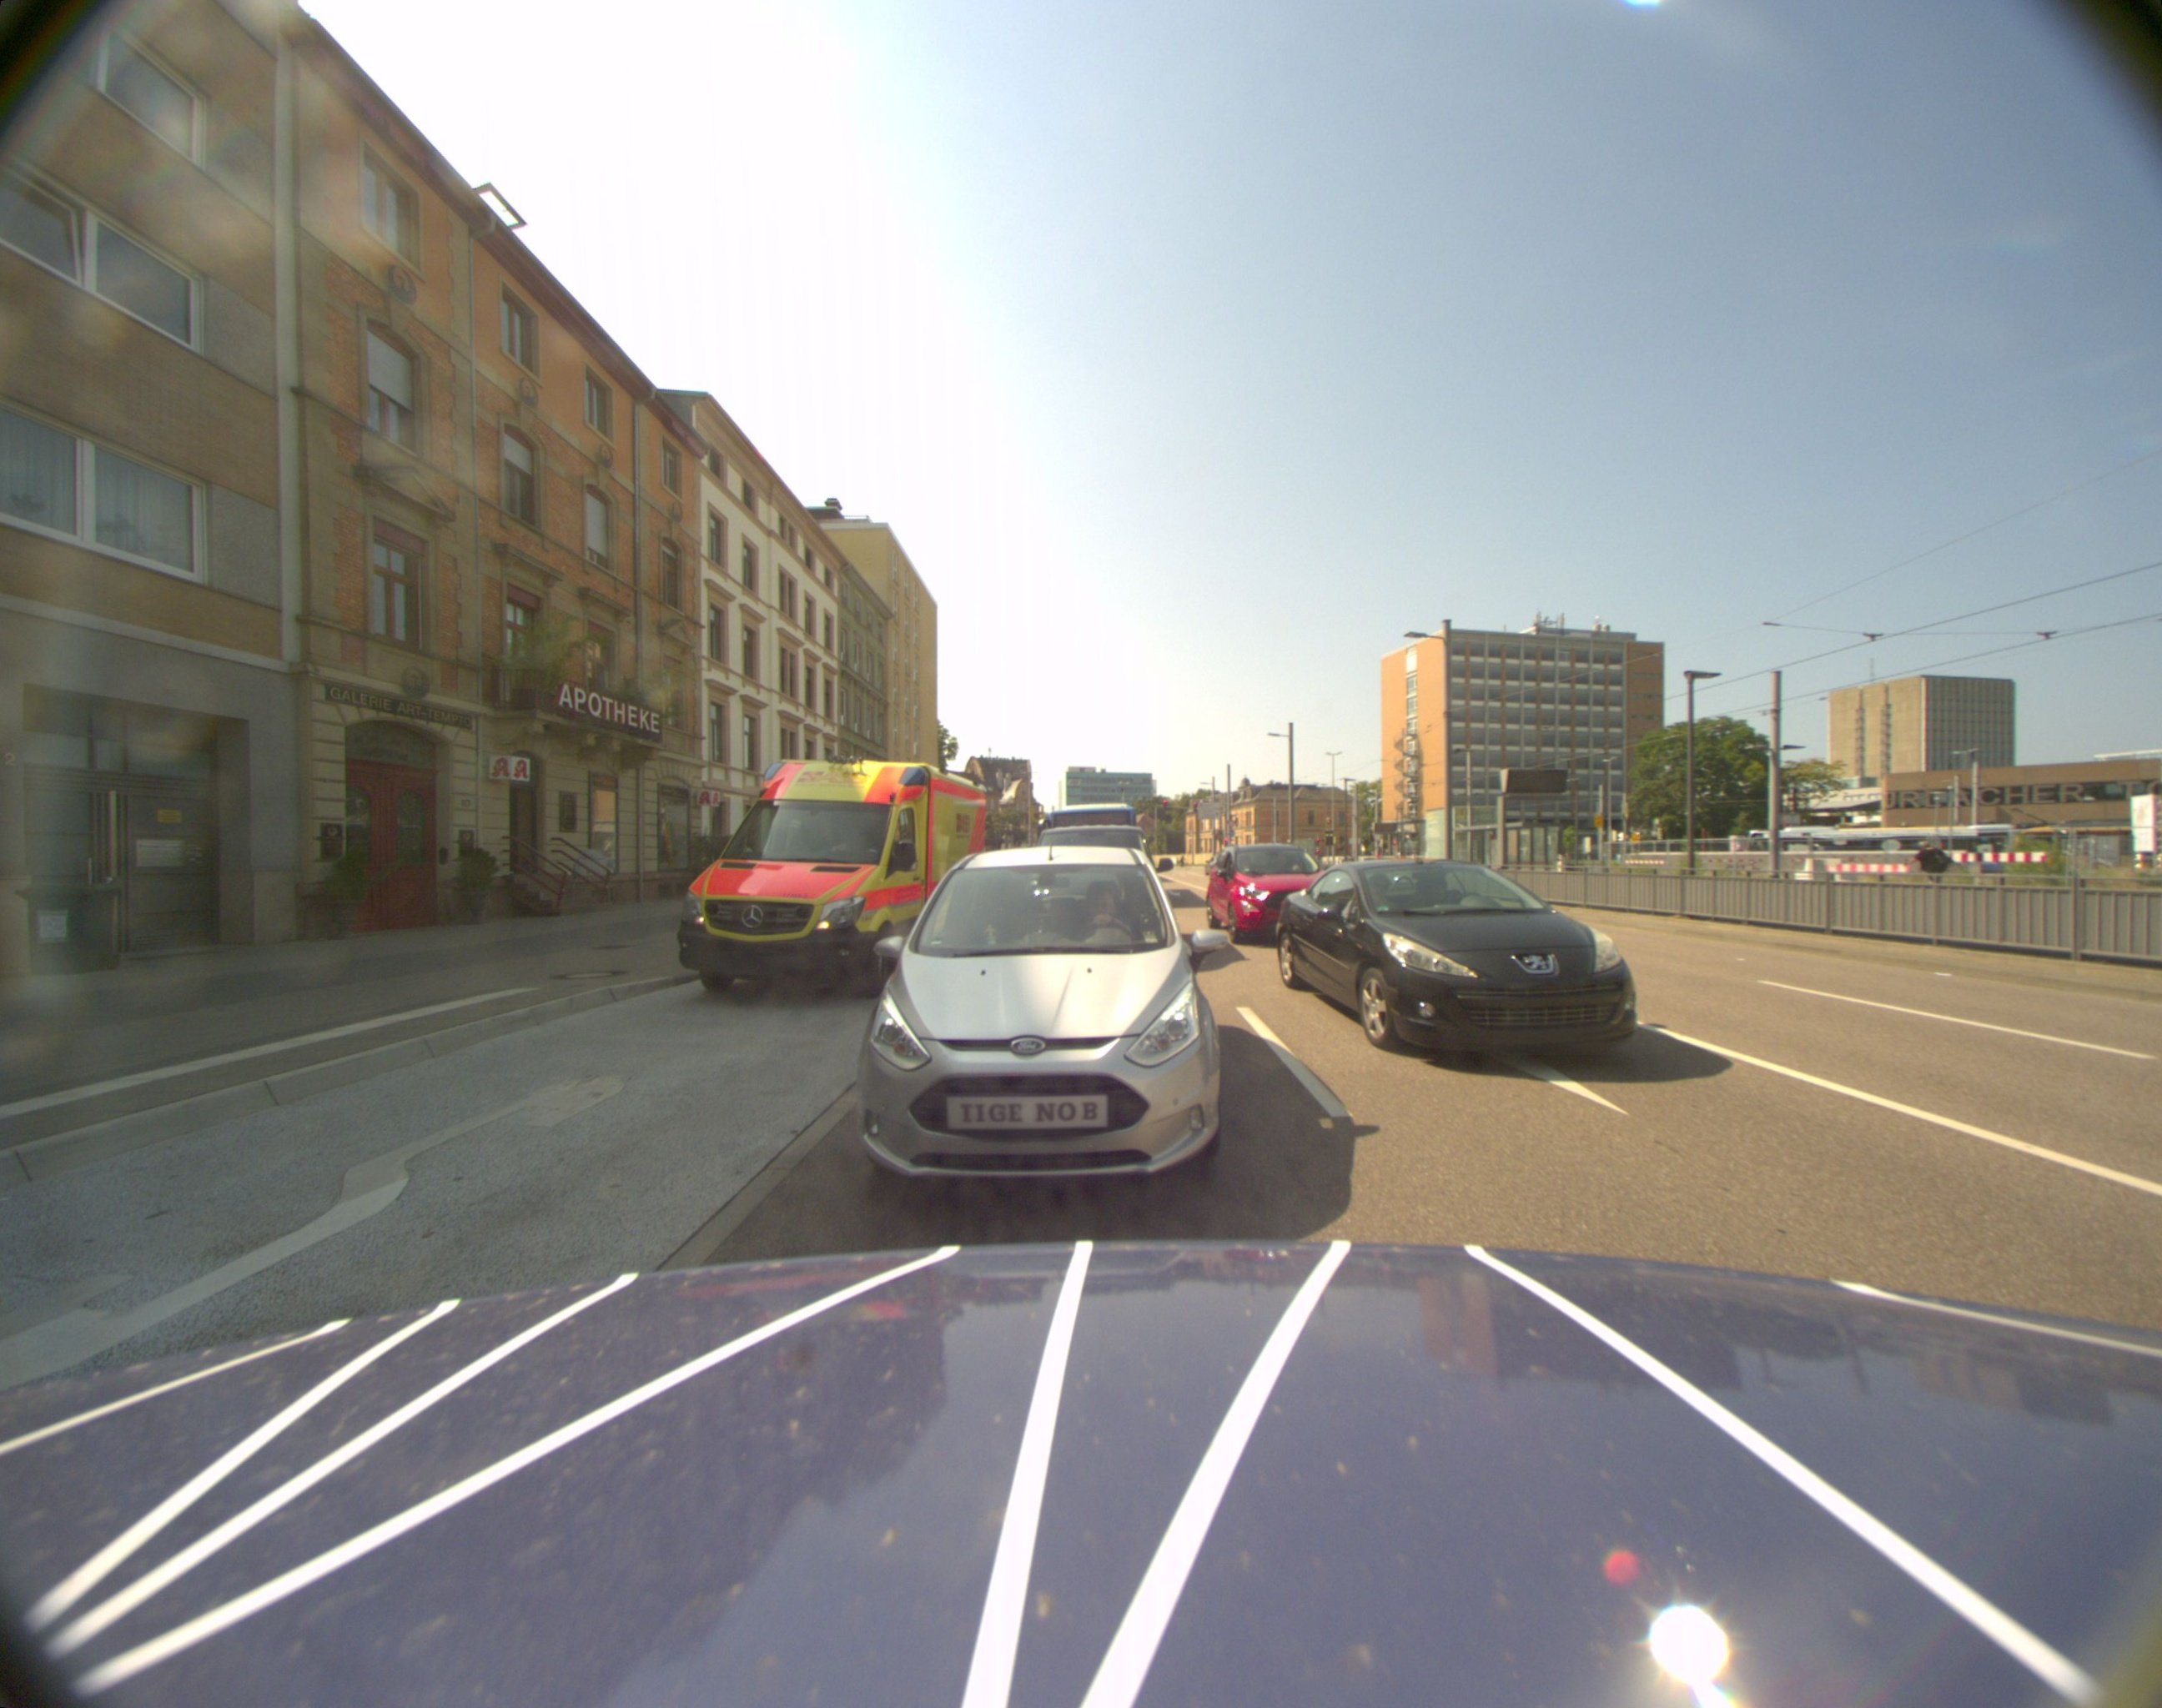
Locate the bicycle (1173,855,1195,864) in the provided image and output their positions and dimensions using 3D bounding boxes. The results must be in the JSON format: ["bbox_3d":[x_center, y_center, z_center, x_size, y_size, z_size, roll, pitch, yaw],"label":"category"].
[{"bbox_3d":[12.114,0.605,89.359,2.516,1.011,0.786,0,1,35],"label":"bicycle"}]

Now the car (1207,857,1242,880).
[{"bbox_3d":[10.080,1.040,53.803,1.750,1.426,4.575,-3,-1,3],"label":"car"}]

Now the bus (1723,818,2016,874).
[{"bbox_3d":[52.320,-0.419,51.343,3.357,3.275,13.371,-3,0,-45],"label":"bus"}]

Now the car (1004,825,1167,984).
[{"bbox_3d":[0.111,0.624,11.984,1.998,1.953,4.816,-1,0,1],"label":"car"}]

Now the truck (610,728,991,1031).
[{"bbox_3d":[-3.015,0.207,10.250,2.333,2.754,6.340,2,1,4],"label":"truck"}]

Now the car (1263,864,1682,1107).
[{"bbox_3d":[2.890,0.843,6.617,1.692,1.405,3.801,-2,0,1],"label":"car"}]

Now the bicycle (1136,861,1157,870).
[{"bbox_3d":[7.939,1.387,92.351,2.516,1.014,0.786,0,1,35],"label":"bicycle"}]

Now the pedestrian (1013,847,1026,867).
[{"bbox_3d":[-4.949,0.239,60.940,0.644,1.619,0.798,1,1,32],"label":"pedestrian"}]

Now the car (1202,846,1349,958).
[{"bbox_3d":[3.181,0.697,13.180,1.634,1.611,3.968,-2,0,2],"label":"car"}]

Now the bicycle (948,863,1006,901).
[{"bbox_3d":[-3.450,0.933,25.330,1.841,1.196,0.434,-2,1,1],"label":"bicycle"}]

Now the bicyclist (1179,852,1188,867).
[{"bbox_3d":[12.020,0.663,89.417,0.787,1.797,0.786,0,1,35],"label":"bicyclist"}]

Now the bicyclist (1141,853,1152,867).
[{"bbox_3d":[7.970,0.692,92.320,0.980,1.731,0.786,0,1,35],"label":"bicyclist"}]

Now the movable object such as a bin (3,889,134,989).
[{"bbox_3d":[-11.992,0.975,9.029,0.648,1.098,0.727,1,0,-24],"label":"movable object such as a bin"}]

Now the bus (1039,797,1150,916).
[{"bbox_3d":[0.619,0.045,26.810,2.919,3.119,12.345,-2,0,2],"label":"bus"}]

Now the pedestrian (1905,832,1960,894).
[{"bbox_3d":[25.100,0.256,22.409,0.745,1.777,0.761,0,1,1],"label":"pedestrian"}]

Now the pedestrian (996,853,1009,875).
[{"bbox_3d":[-6.270,0.794,60.604,0.687,1.748,0.798,1,1,42],"label":"pedestrian"}]

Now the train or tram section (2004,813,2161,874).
[{"bbox_3d":[66.769,-0.652,46.887,2.004,3.743,12.331,-1,0,-45],"label":"train or tram section"}]

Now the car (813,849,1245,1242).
[{"bbox_3d":[-0.163,0.784,5.101,1.728,1.579,4.000,-1,0,1],"label":"car"}]
